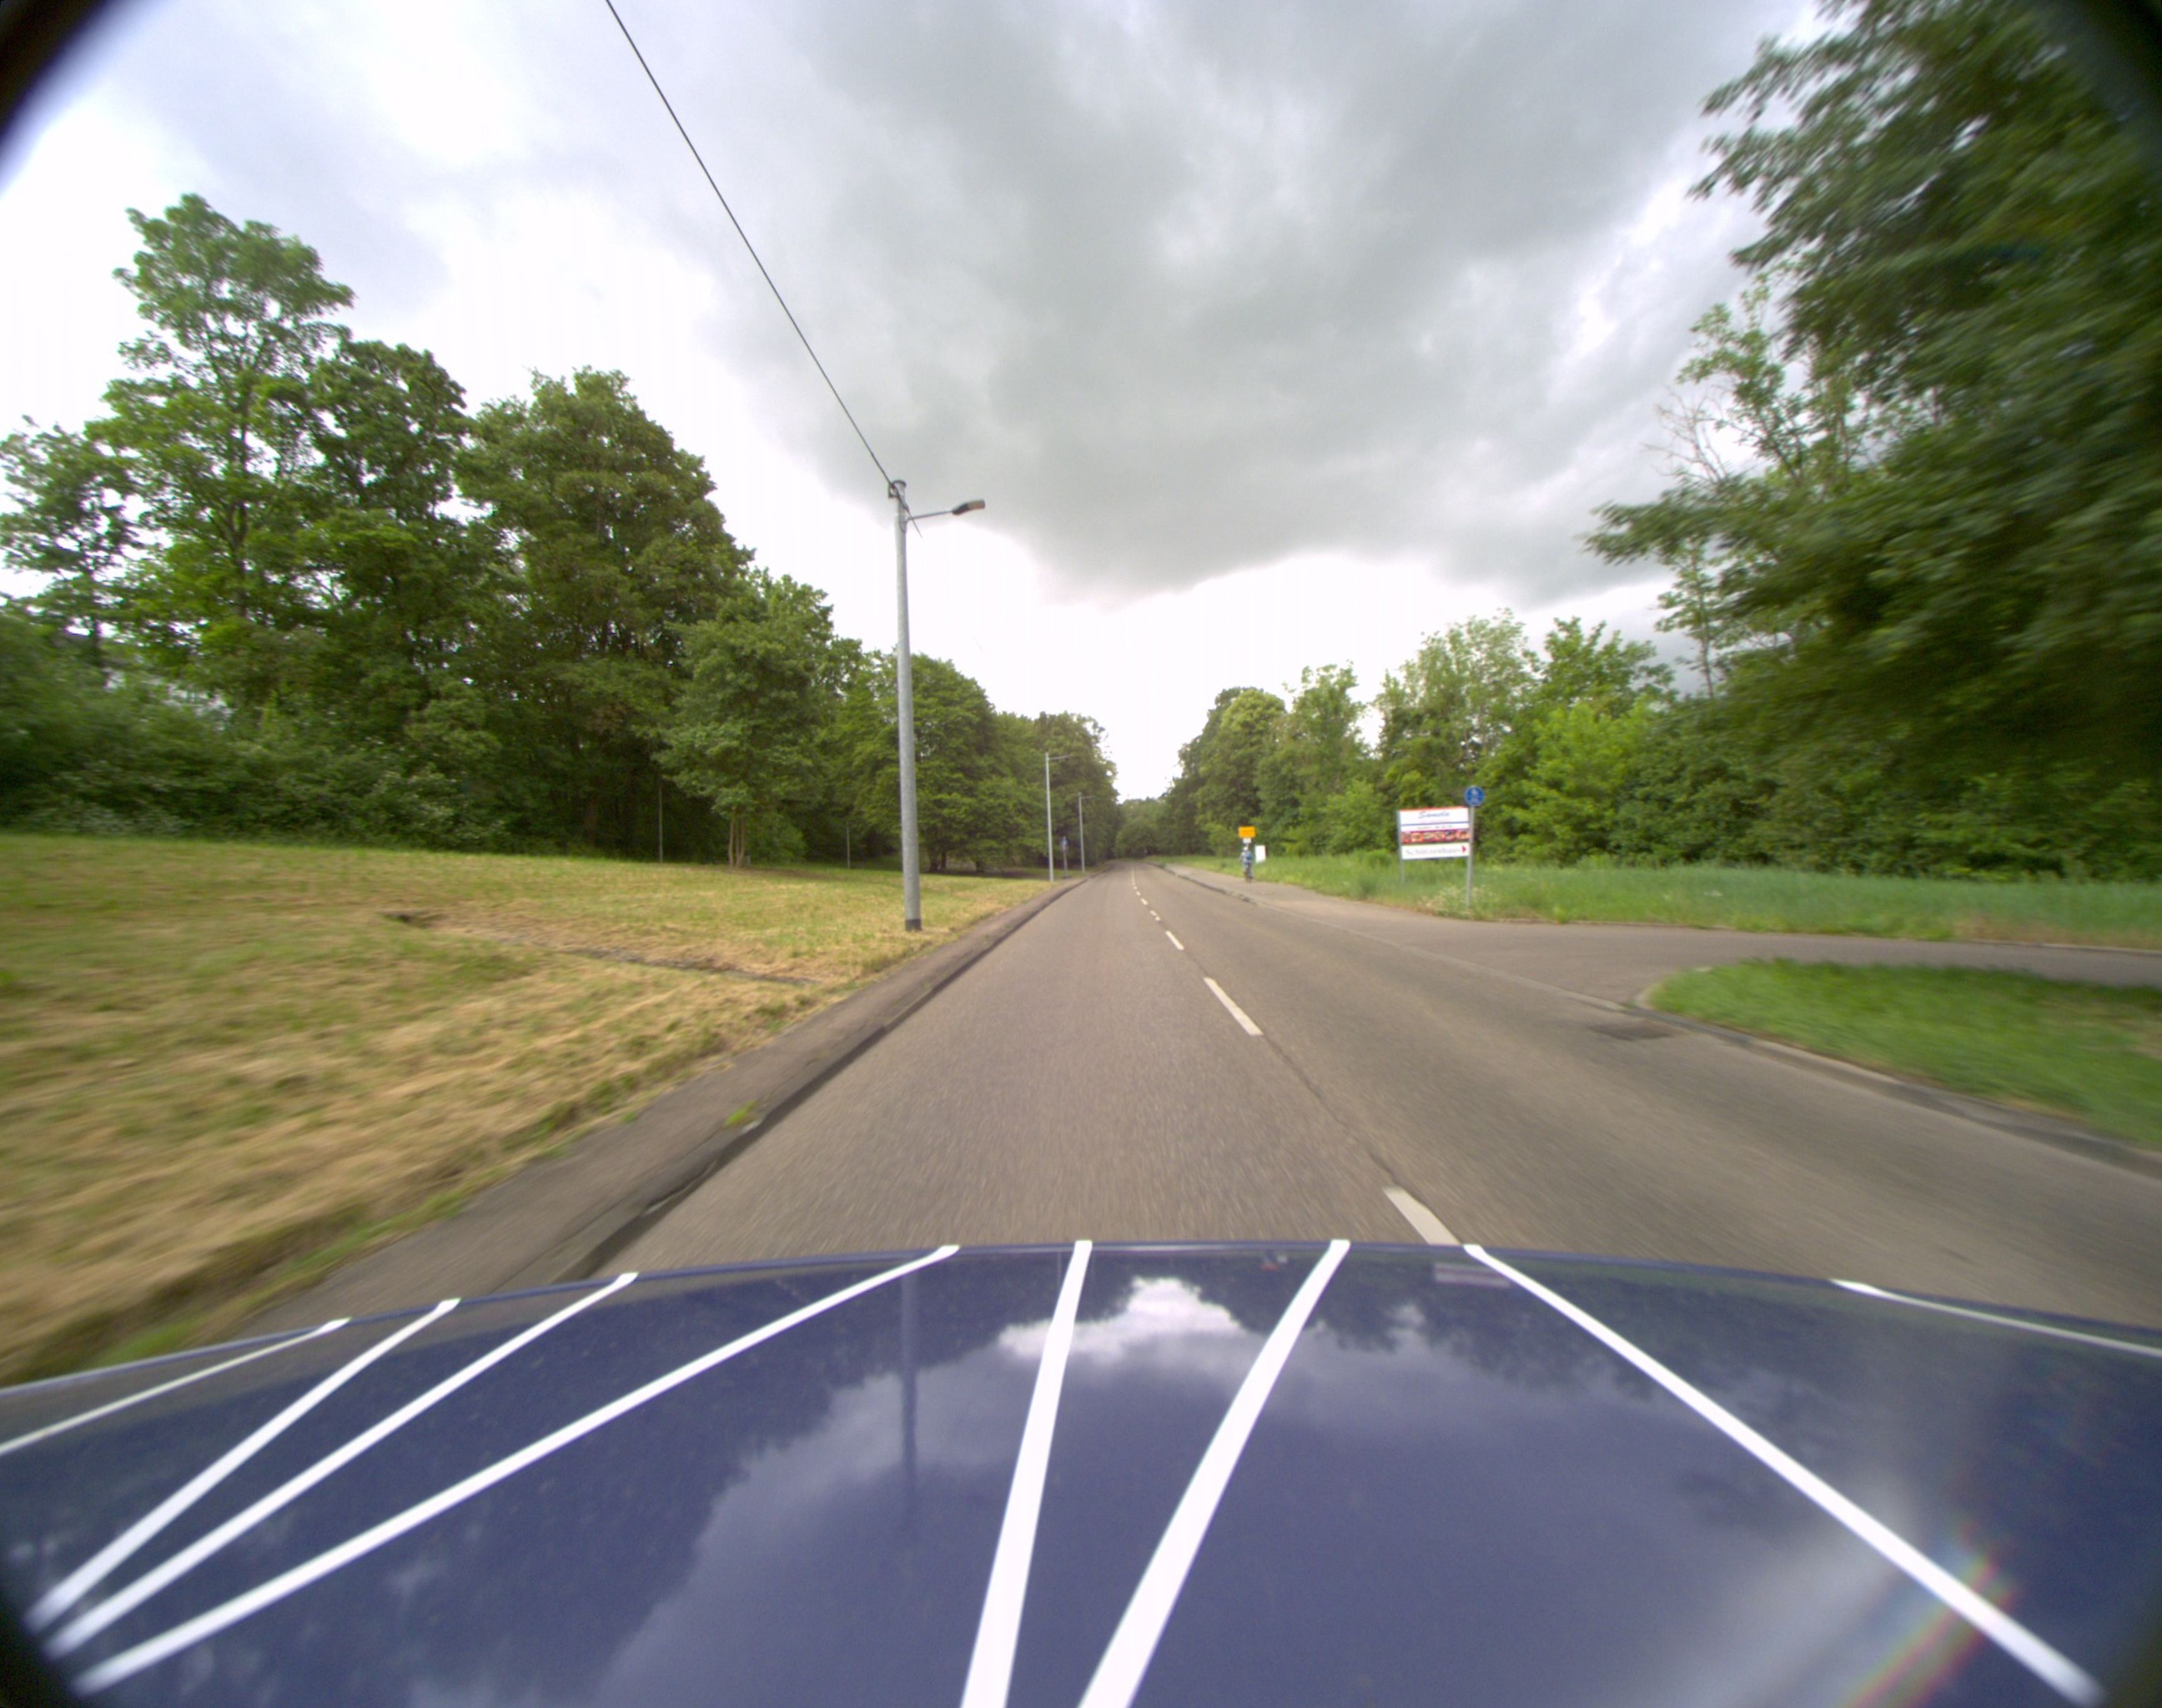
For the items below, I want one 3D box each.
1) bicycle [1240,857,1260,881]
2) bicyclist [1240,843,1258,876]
[{"bbox_3d":[7.969,0.677,35.936,0.667,1.068,2.147,-2,0,6],"label":"bicycle"},{"bbox_3d":[7.948,0.255,35.931,0.667,1.511,1.271,-2,0,6],"label":"bicyclist"}]
